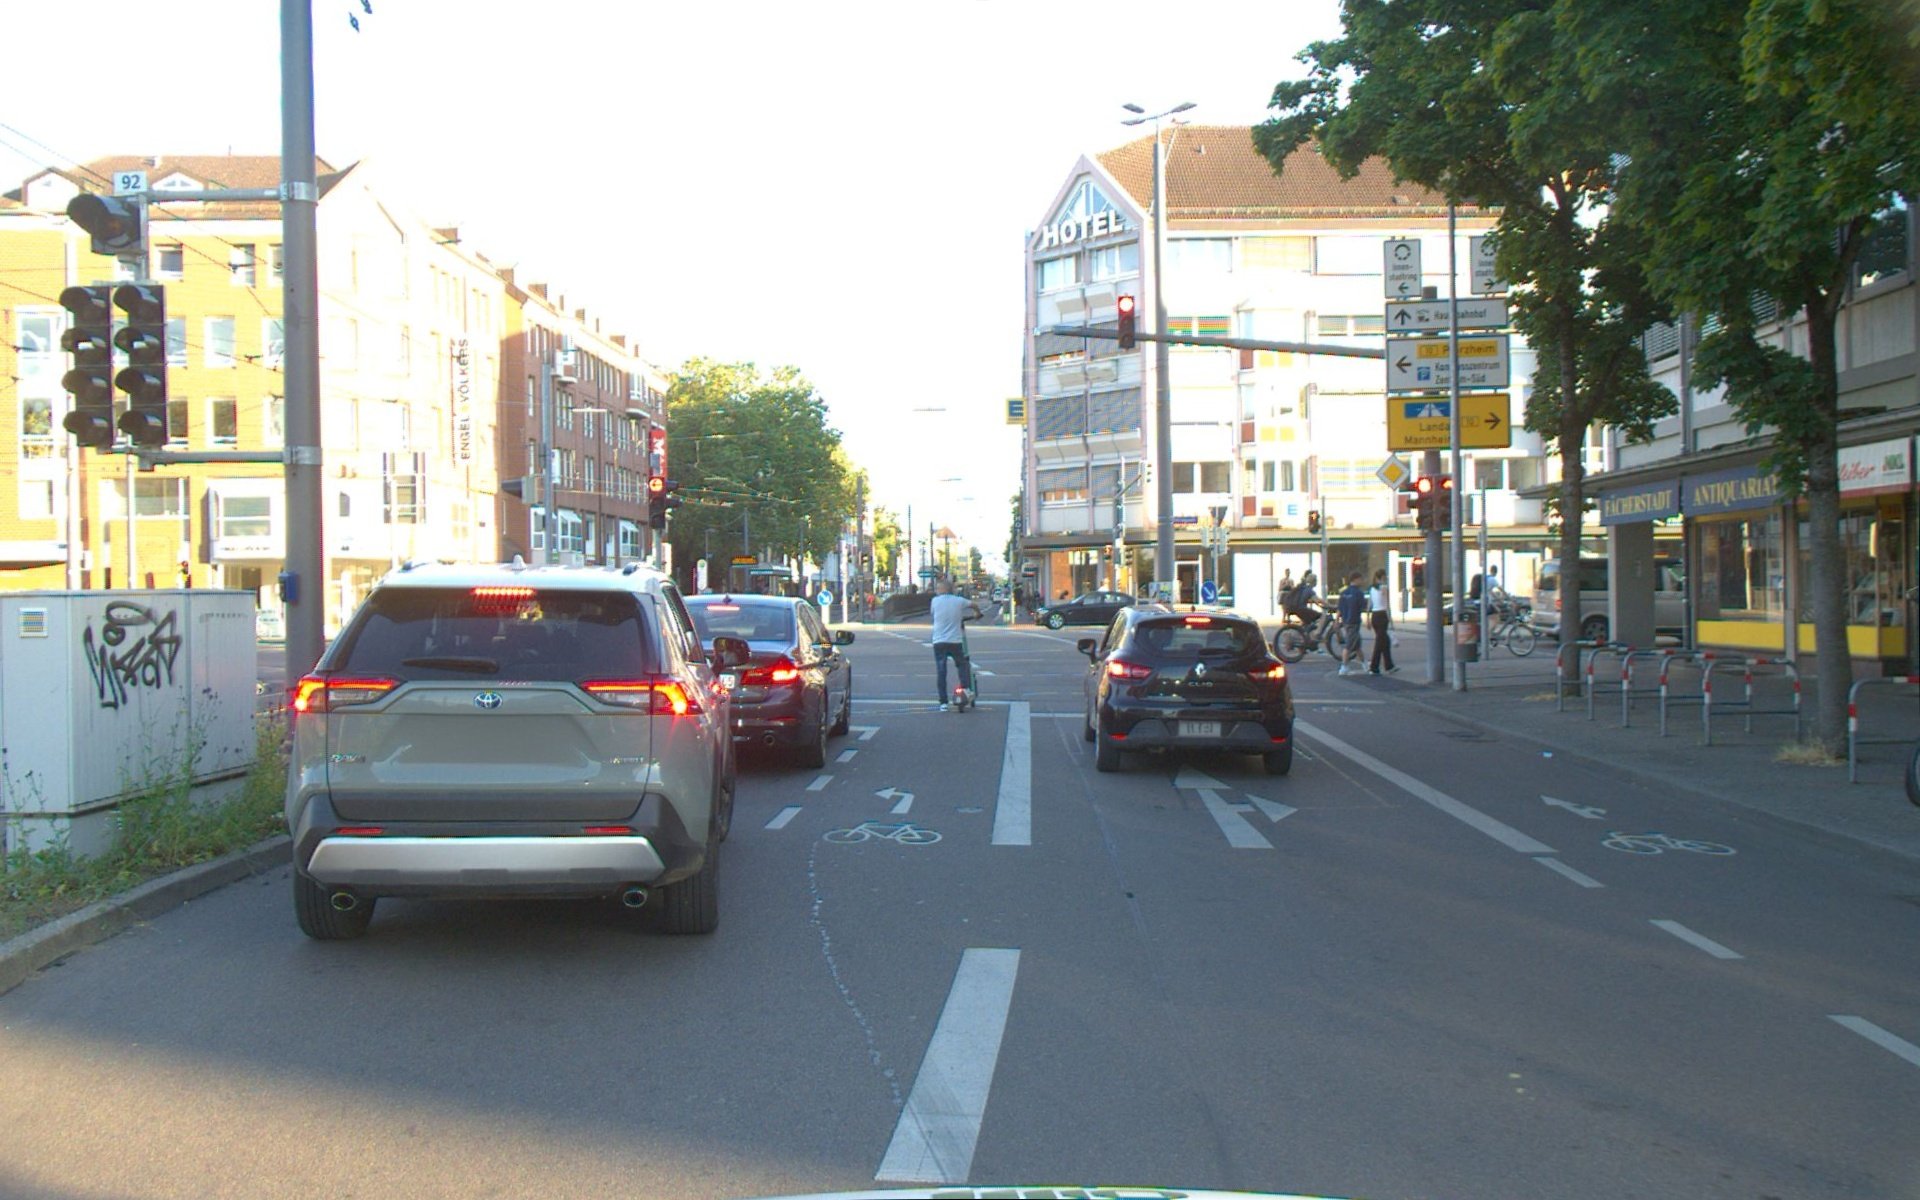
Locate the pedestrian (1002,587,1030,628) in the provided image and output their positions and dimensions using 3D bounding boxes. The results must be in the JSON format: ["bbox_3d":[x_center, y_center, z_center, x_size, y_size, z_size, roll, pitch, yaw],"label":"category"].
[{"bbox_3d":[2.442,0.328,72.261,0.926,1.756,0.840,1,0,-39],"label":"pedestrian"}]

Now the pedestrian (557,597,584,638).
[{"bbox_3d":[-19.767,0.887,83.898,1.071,2.049,1.163,1,0,-1],"label":"pedestrian"}]

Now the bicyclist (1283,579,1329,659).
[{"bbox_3d":[6.872,0.375,32.870,0.690,1.537,0.549,-3,0,-5],"label":"bicyclist"}]

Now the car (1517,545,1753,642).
[{"bbox_3d":[15.097,-0.149,37.219,4.583,2.049,2.002,-1,0,11],"label":"car"}]

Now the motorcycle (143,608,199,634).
[{"bbox_3d":[-28.684,0.763,60.162,1.797,0.924,0.432,1,0,-3],"label":"motorcycle"}]

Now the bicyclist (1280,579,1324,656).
[{"bbox_3d":[6.995,0.348,33.852,0.690,1.537,0.549,-3,0,-5],"label":"bicyclist"}]

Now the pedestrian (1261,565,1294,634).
[{"bbox_3d":[8.417,-0.008,43.862,0.730,1.809,0.800,1,0,4],"label":"pedestrian"}]

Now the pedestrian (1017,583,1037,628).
[{"bbox_3d":[3.617,0.284,88.975,1.062,2.406,1.056,1,0,2],"label":"pedestrian"}]

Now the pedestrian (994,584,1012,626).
[{"bbox_3d":[2.296,0.280,89.226,0.913,2.235,0.852,1,0,-1],"label":"pedestrian"}]

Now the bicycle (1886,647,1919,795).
[{"bbox_3d":[7.276,0.836,11.289,1.622,0.991,0.386,1,0,9],"label":"bicycle"}]

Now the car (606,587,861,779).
[{"bbox_3d":[-1.941,0.645,15.406,1.709,1.486,4.410,1,1,1],"label":"car"}]

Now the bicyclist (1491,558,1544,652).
[{"bbox_3d":[11.556,0.105,34.314,0.843,1.911,0.646,1,0,-5],"label":"bicyclist"}]

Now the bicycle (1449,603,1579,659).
[{"bbox_3d":[11.471,0.647,34.268,2.588,1.119,0.435,1,0,-4],"label":"bicycle"}]

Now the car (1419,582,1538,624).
[{"bbox_3d":[19.644,0.120,62.749,3.905,1.502,2.000,1,0,0],"label":"car"}]

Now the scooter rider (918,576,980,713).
[{"bbox_3d":[-0.127,0.547,20.675,0.648,1.676,0.662,1,0,10],"label":"scooter rider"}]

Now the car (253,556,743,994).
[{"bbox_3d":[-2.038,0.634,8.430,1.800,1.664,4.084,0,1,-7],"label":"car"}]

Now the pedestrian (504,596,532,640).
[{"bbox_3d":[-21.093,0.853,78.932,1.071,2.049,0.908,1,0,-1],"label":"pedestrian"}]

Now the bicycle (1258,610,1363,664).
[{"bbox_3d":[6.962,0.724,32.861,1.996,1.046,0.417,0,0,-4],"label":"bicycle"}]

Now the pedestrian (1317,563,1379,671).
[{"bbox_3d":[6.812,0.291,29.049,0.714,1.862,0.994,1,0,36],"label":"pedestrian"}]

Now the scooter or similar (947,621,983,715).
[{"bbox_3d":[0.070,0.825,20.554,0.273,1.110,1.258,1,0,8],"label":"scooter or similar"}]

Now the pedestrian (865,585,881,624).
[{"bbox_3d":[-4.206,0.229,80.246,0.686,1.855,0.808,1,0,3],"label":"pedestrian"}]

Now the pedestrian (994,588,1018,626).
[{"bbox_3d":[2.039,0.324,73.194,0.715,1.652,0.762,-1,0,-36],"label":"pedestrian"}]

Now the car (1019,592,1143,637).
[{"bbox_3d":[4.478,0.536,61.857,4.459,1.649,1.997,0,0,-1],"label":"car"}]

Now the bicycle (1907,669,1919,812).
[{"bbox_3d":[7.004,0.912,10.409,1.779,0.907,0.415,1,0,9],"label":"bicycle"}]

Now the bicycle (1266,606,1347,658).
[{"bbox_3d":[7.093,0.649,33.862,1.580,1.046,0.353,-1,0,-5],"label":"bicycle"}]

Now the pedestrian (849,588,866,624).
[{"bbox_3d":[-4.984,0.286,80.346,0.686,1.693,0.808,1,0,3],"label":"pedestrian"}]

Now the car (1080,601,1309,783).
[{"bbox_3d":[2.080,0.763,15.668,1.727,1.465,4.001,0,0,2],"label":"car"}]

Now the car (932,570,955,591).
[{"bbox_3d":[-1.605,-1.914,162.455,1.952,1.934,4.001,1,0,3],"label":"car"}]

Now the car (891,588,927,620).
[{"bbox_3d":[-2.925,0.212,96.047,1.773,1.777,3.716,1,0,3],"label":"car"}]

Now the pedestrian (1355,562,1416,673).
[{"bbox_3d":[7.317,0.294,28.423,0.714,1.862,0.994,1,0,35],"label":"pedestrian"}]

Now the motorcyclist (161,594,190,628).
[{"bbox_3d":[-28.534,0.399,60.168,0.690,1.242,0.788,1,0,-4],"label":"motorcyclist"}]
